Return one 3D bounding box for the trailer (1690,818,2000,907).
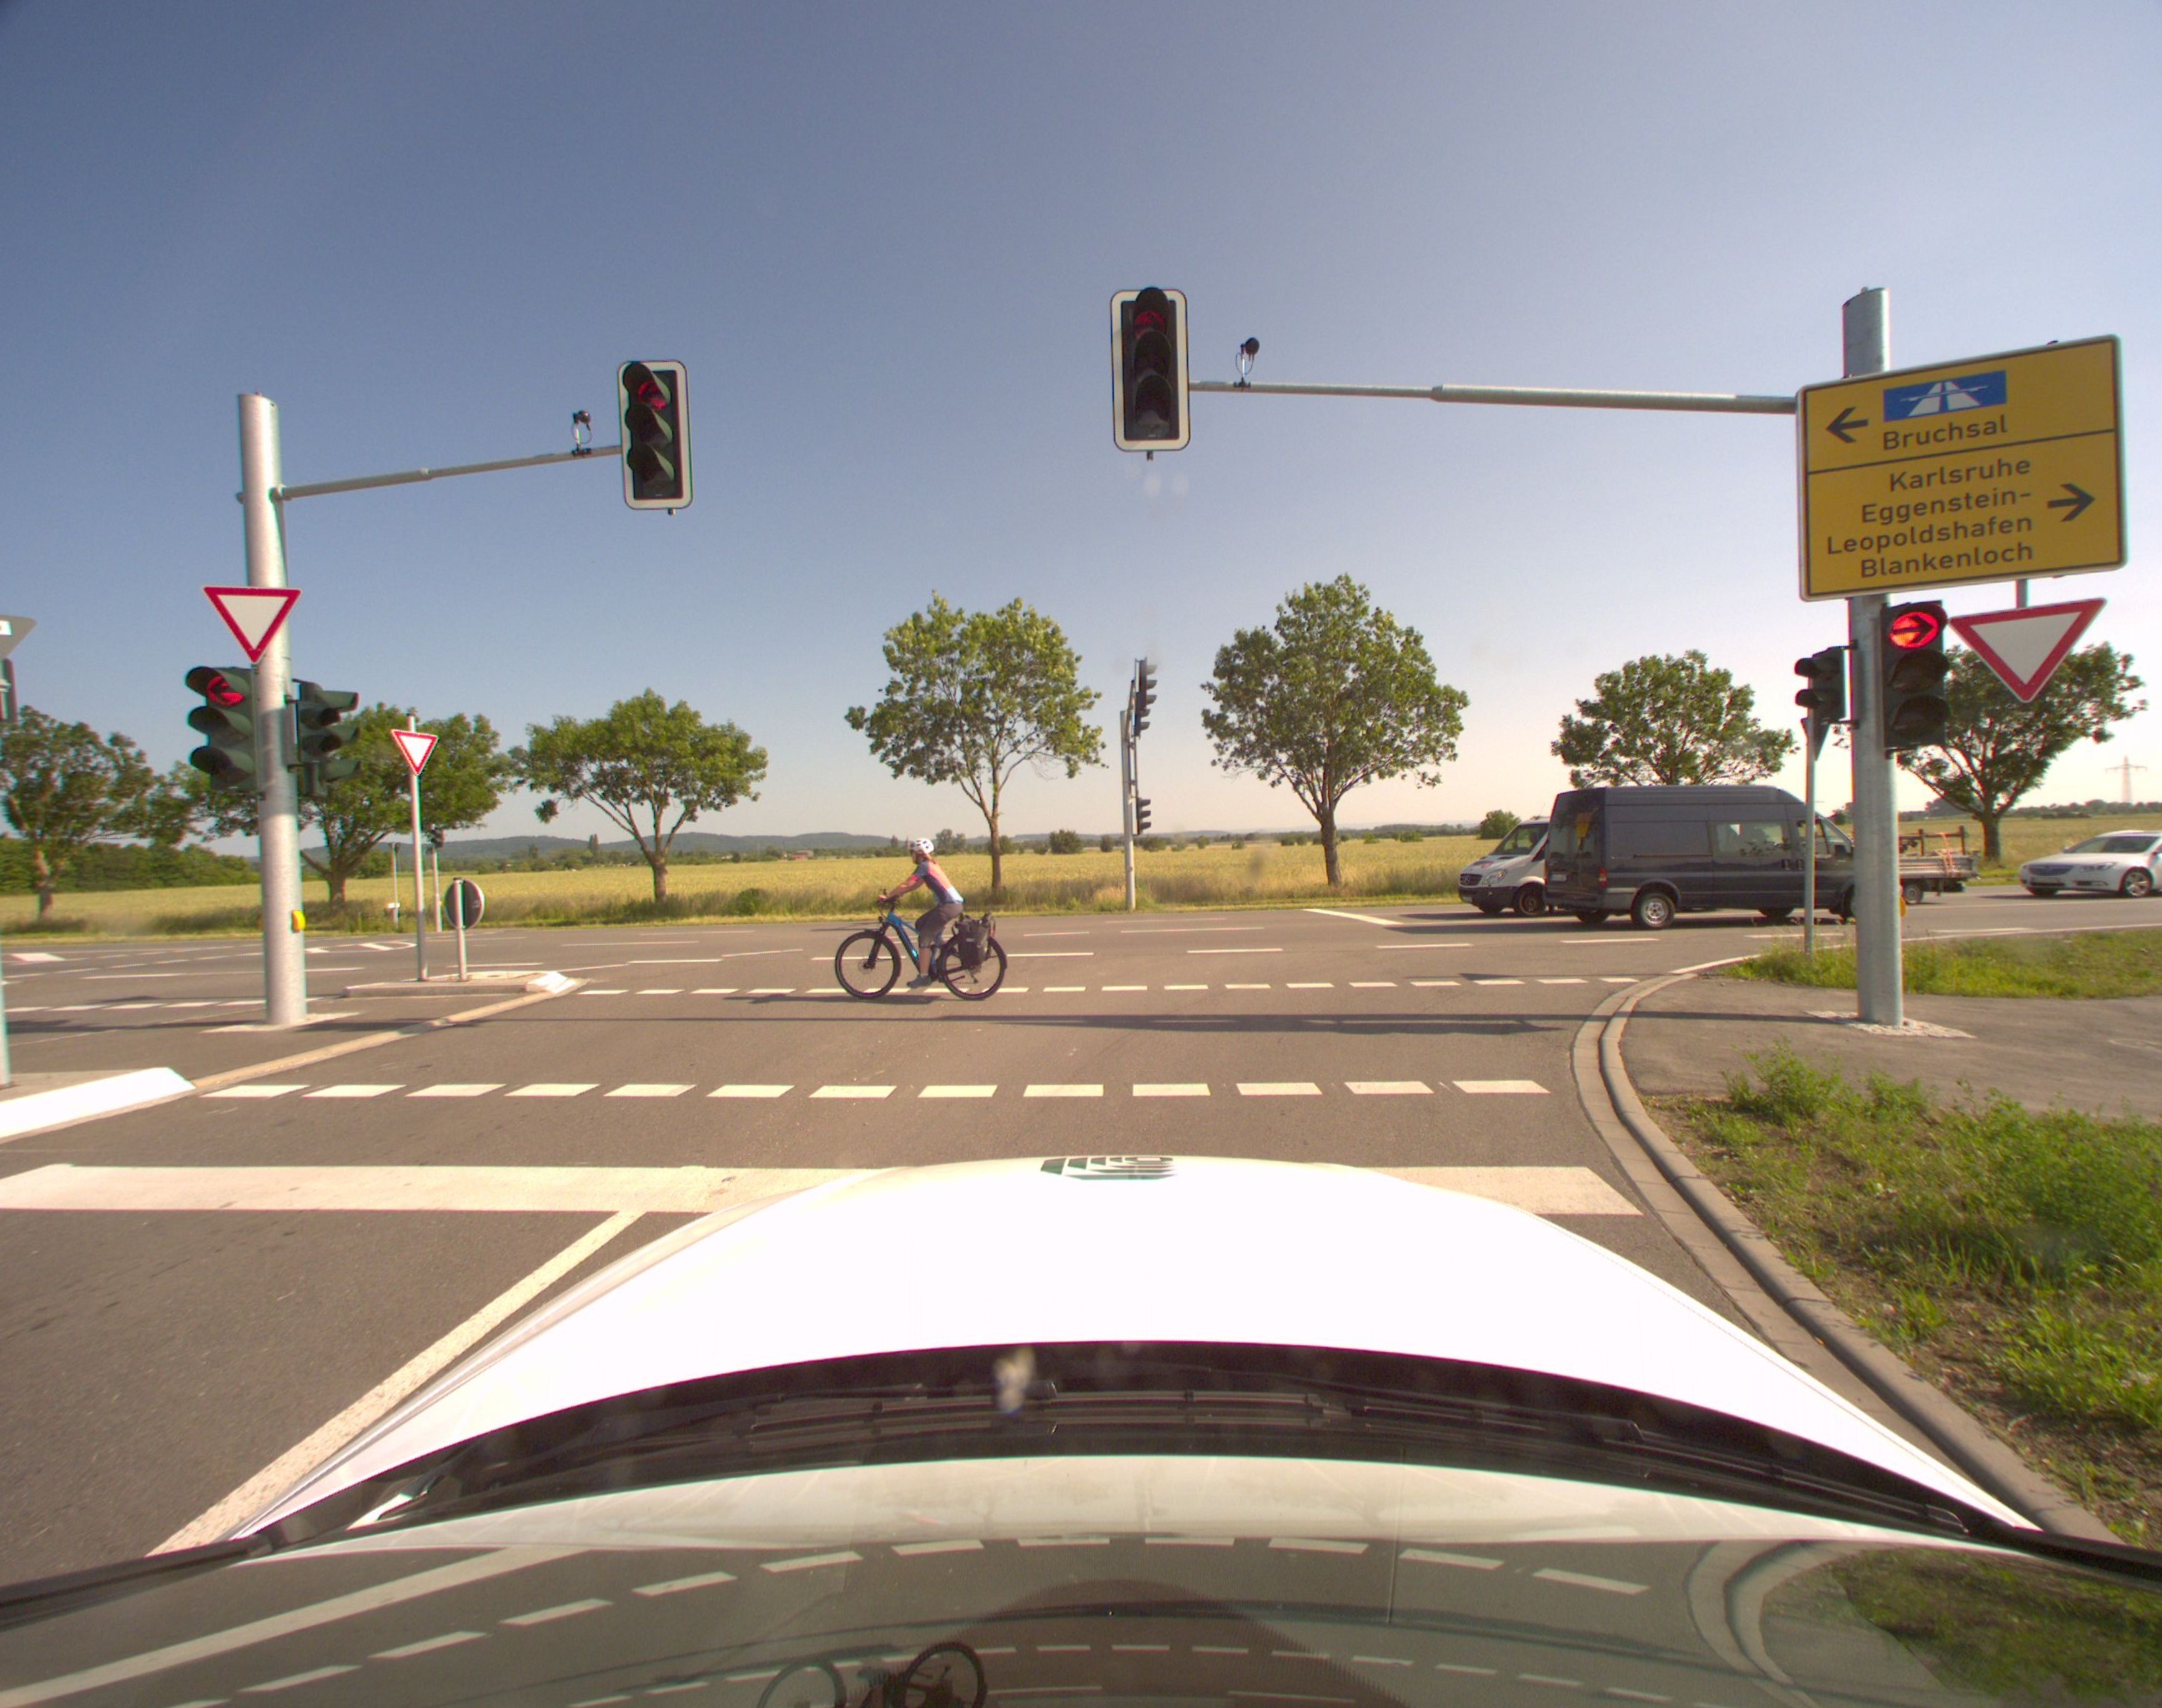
[{"bbox_3d":[17.232,0.181,18.555,5.245,1.753,1.953,-2,-1,-1],"label":"trailer"}]

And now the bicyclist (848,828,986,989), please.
[{"bbox_3d":[-1.728,0.544,8.847,1.276,1.601,1.164,-1,1,-3],"label":"bicyclist"}]

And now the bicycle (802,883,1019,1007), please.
[{"bbox_3d":[-1.771,0.937,8.771,2.151,1.186,0.889,-1,-1,-4],"label":"bicycle"}]

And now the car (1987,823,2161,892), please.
[{"bbox_3d":[24.653,0.087,19.075,4.858,1.510,1.997,0,-1,-4],"label":"car"}]

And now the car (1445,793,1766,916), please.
[{"bbox_3d":[11.692,0.026,18.452,5.939,2.493,1.999,-1,-1,-1],"label":"car"}]

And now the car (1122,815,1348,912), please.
[{"bbox_3d":[4.240,0.266,23.059,5.880,2.577,2.389,0,-1,-5],"label":"car"}]

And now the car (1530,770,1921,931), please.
[{"bbox_3d":[11.846,-0.061,15.258,5.714,2.622,2.033,-2,0,-1],"label":"car"}]
